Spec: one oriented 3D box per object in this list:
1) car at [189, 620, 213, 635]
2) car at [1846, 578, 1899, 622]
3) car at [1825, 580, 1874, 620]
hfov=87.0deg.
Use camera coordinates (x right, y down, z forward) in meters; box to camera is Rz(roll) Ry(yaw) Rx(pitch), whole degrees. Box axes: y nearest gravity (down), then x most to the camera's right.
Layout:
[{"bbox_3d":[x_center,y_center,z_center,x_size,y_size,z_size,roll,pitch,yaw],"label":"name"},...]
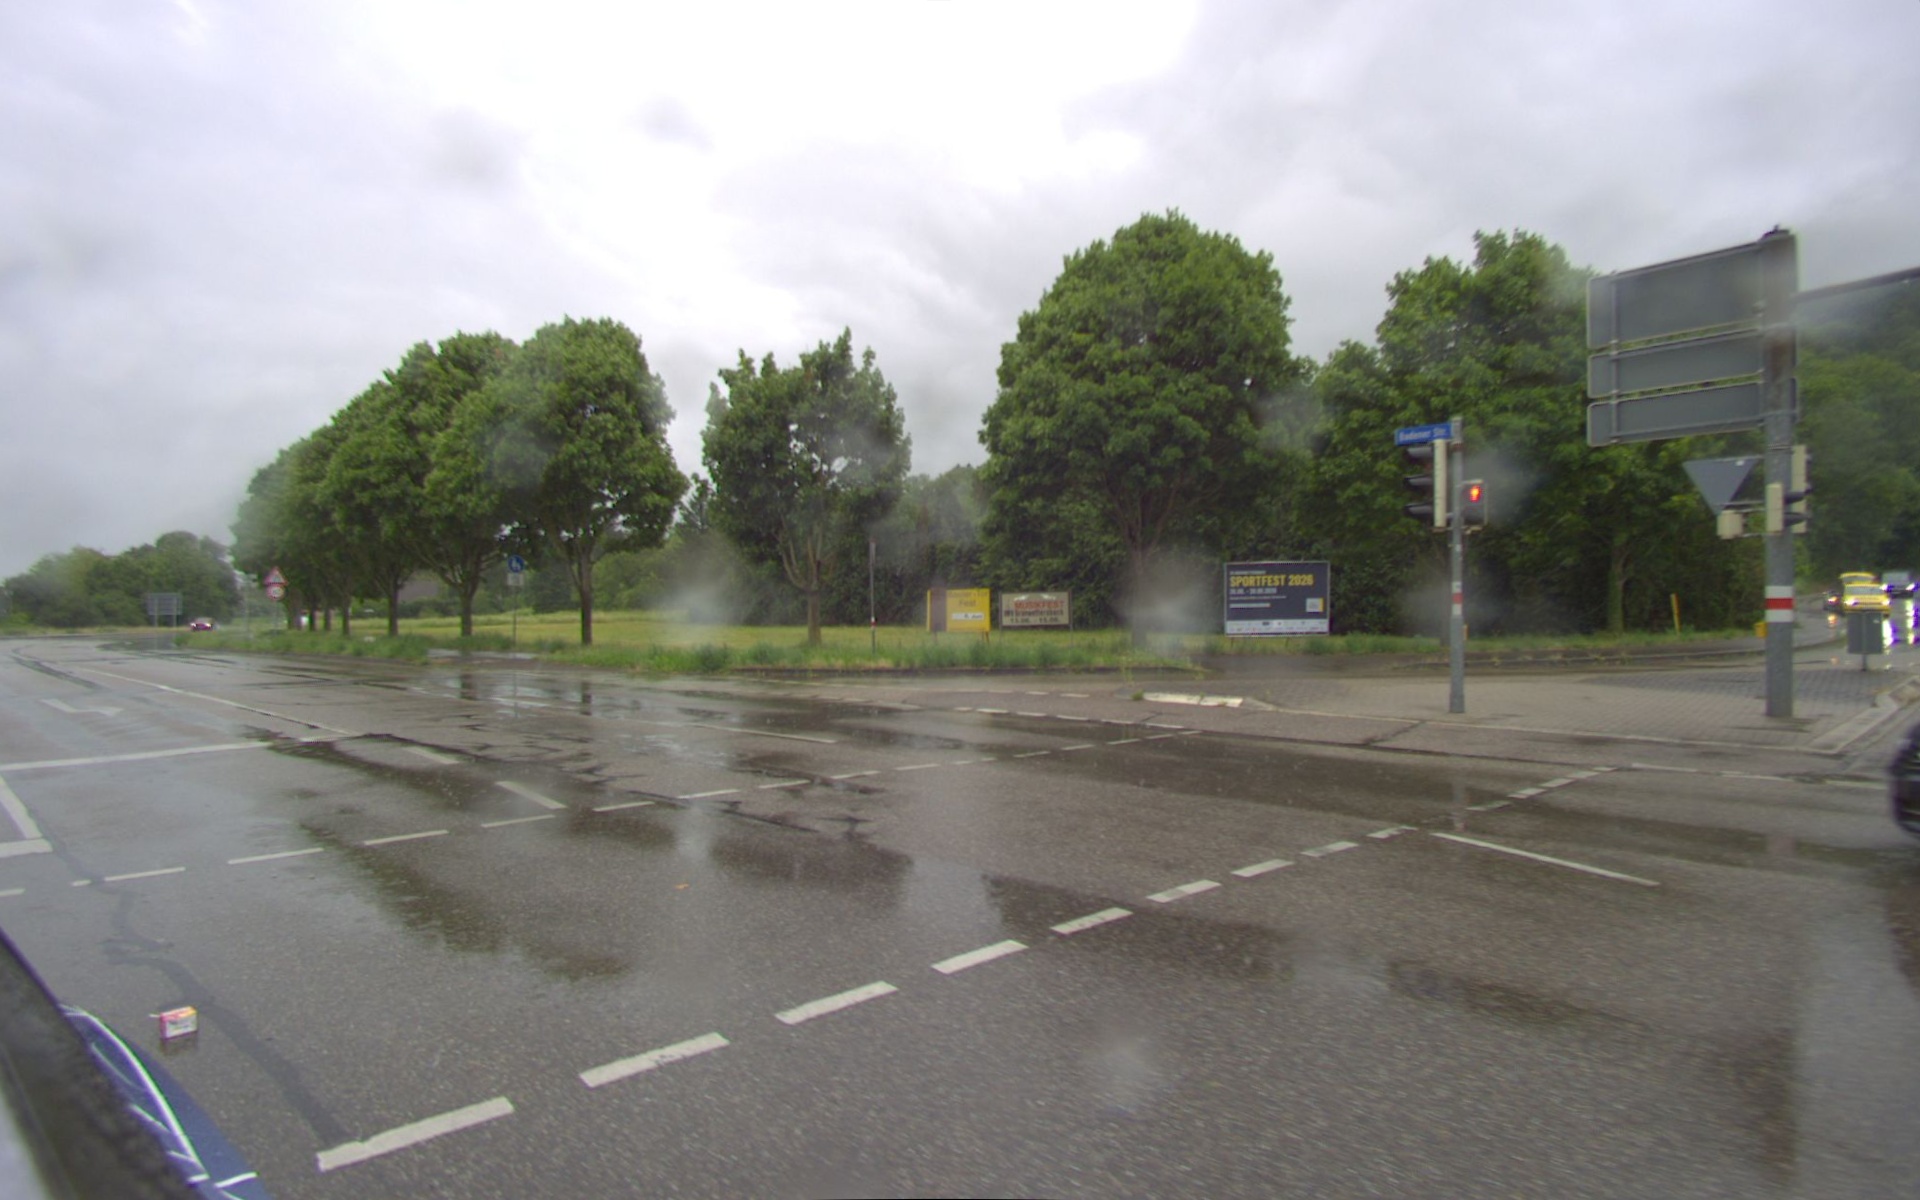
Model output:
[{"bbox_3d":[-93.589,3.375,124.847,1.885,1.701,4.115,0,0,-30],"label":"car"},{"bbox_3d":[44.281,0.027,49.164,1.813,2.042,3.633,-1,-1,41],"label":"car"},{"bbox_3d":[46.542,0.002,53.032,1.812,2.029,3.634,-1,-1,40],"label":"car"}]
